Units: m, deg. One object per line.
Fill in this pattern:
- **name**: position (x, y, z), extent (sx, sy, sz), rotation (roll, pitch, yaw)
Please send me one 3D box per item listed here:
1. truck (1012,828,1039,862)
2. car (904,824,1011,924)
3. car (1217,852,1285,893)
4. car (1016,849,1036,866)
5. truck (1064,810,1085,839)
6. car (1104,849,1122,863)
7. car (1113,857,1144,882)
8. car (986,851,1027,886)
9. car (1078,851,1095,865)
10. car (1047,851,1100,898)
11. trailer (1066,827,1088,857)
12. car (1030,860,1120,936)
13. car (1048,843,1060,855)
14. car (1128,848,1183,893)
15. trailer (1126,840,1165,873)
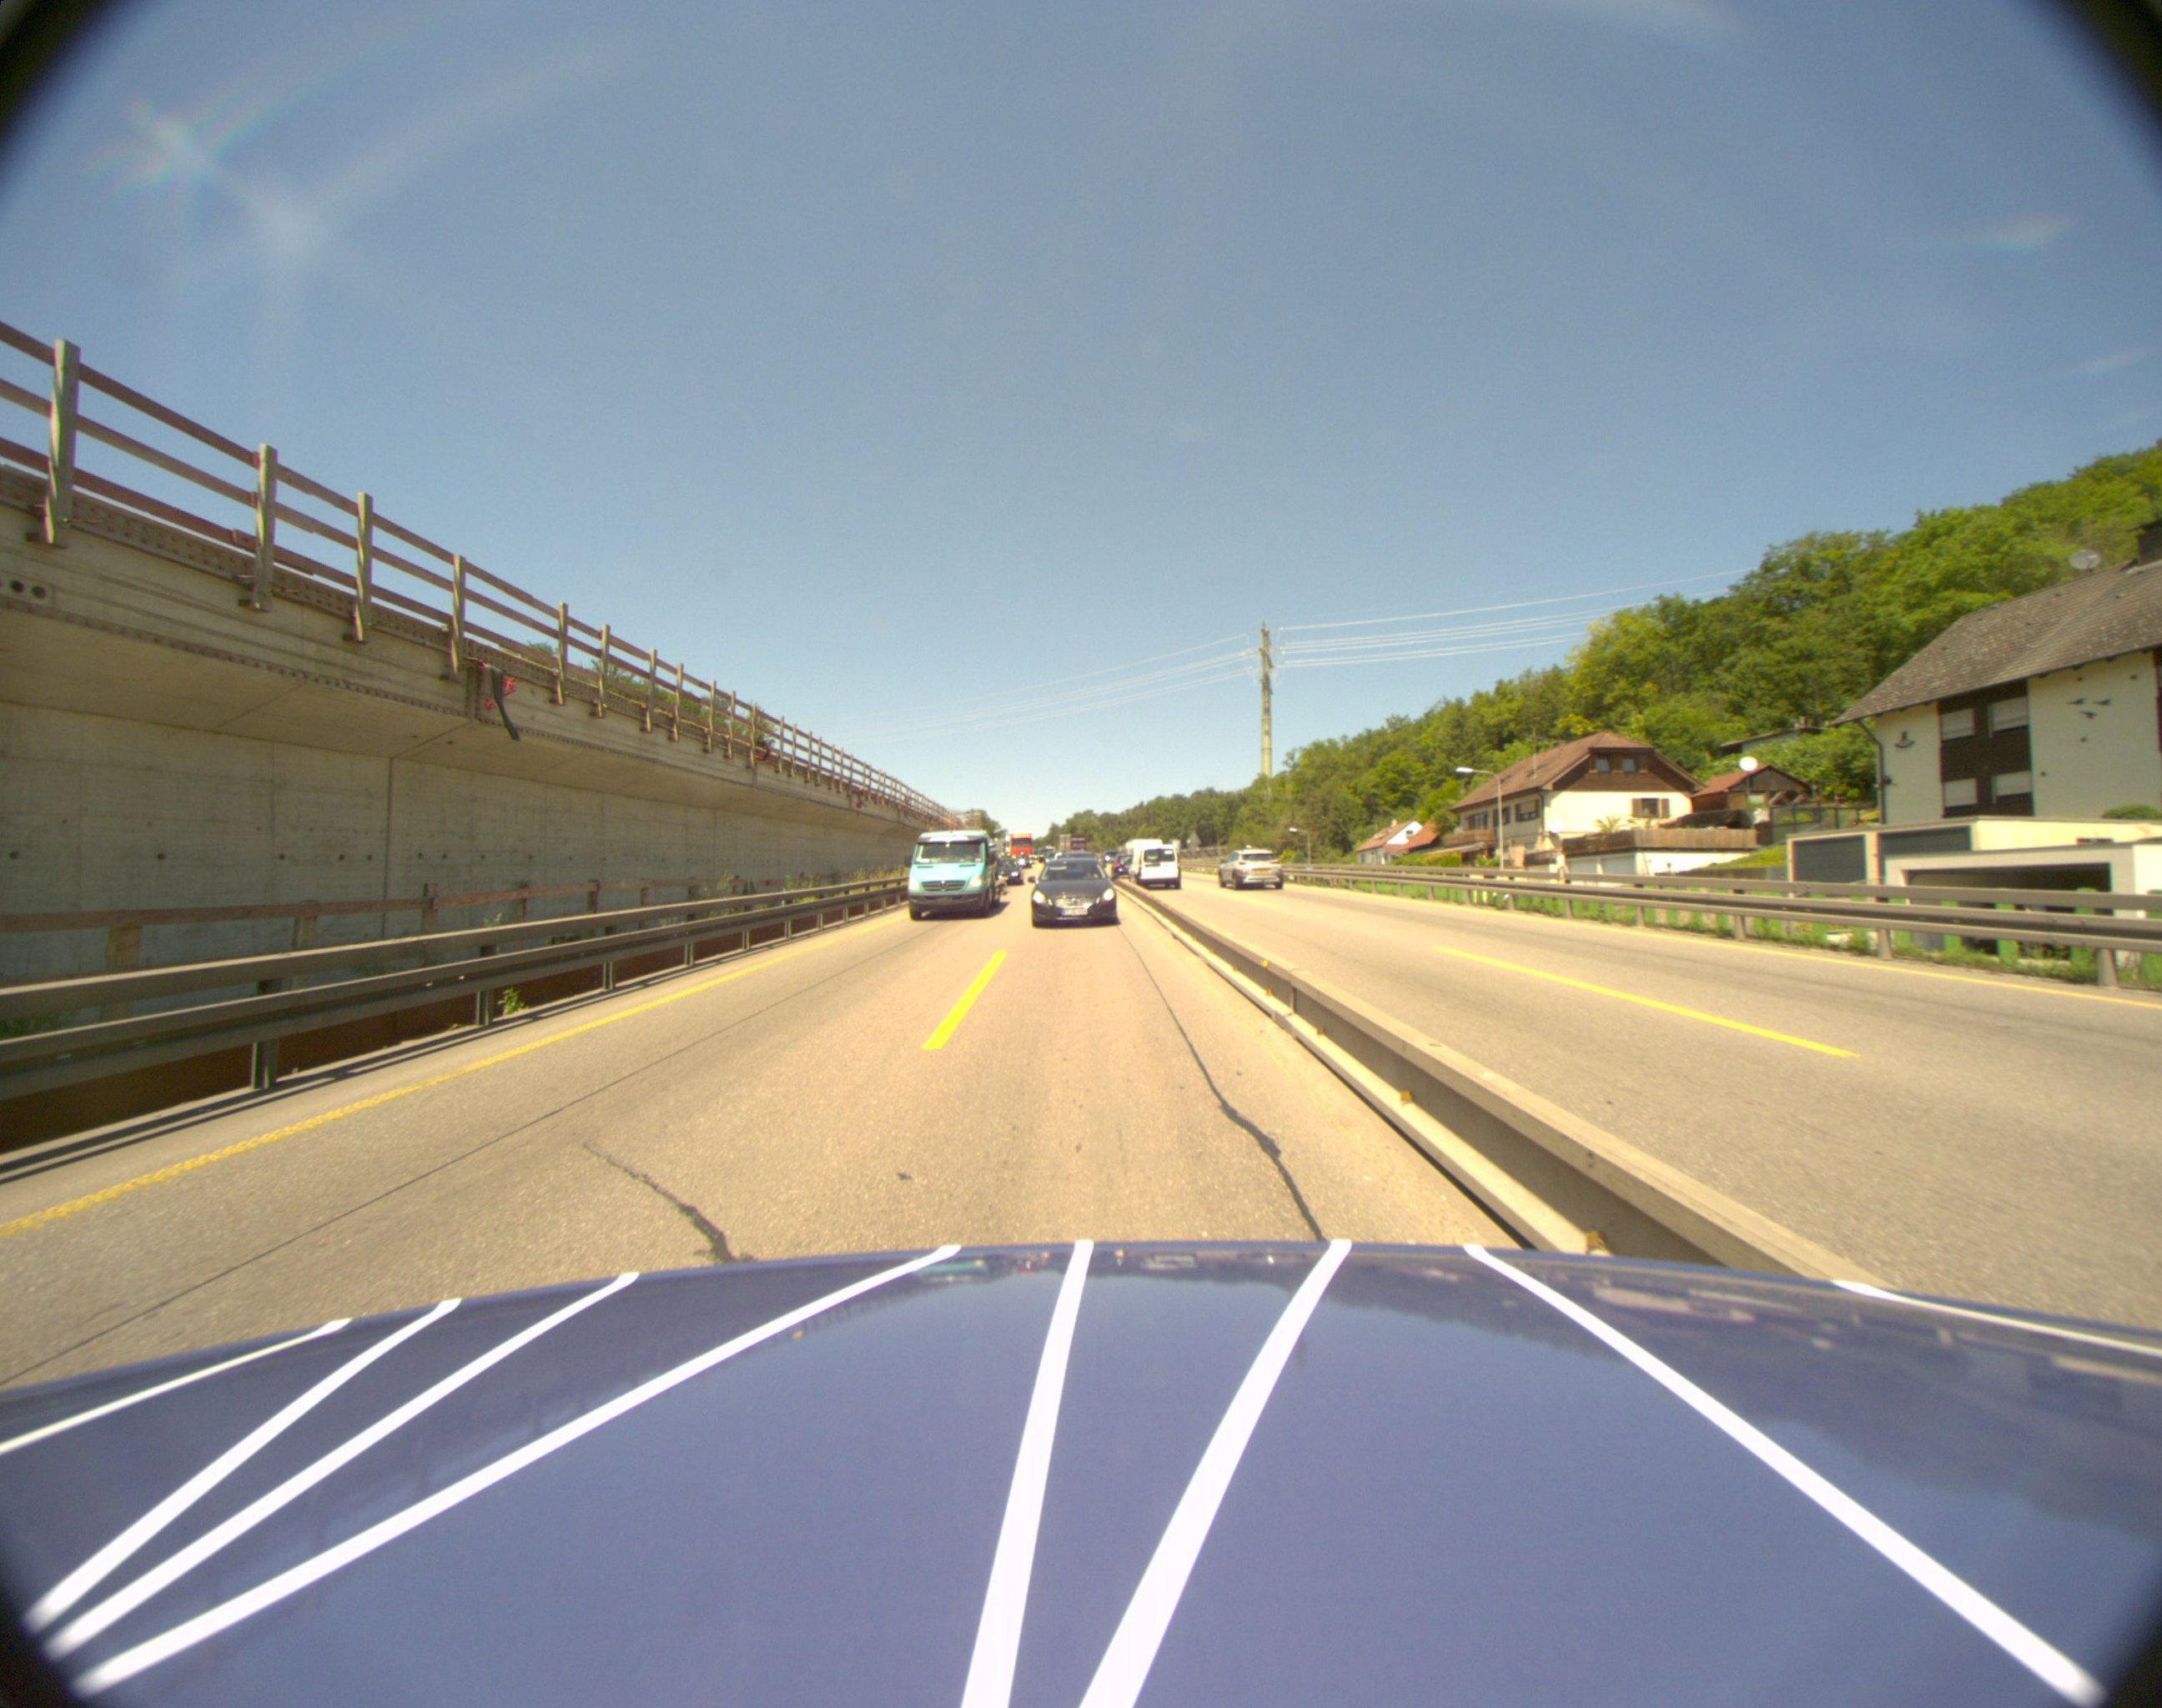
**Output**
- **truck**: position (-6.938, -1.160, 96.624), extent (2.651, 3.978, 11.193), rotation (-3, 1, -1)
- **car**: position (-3.320, 0.468, 22.046), extent (1.968, 2.367, 7.209), rotation (-2, 0, -1)
- **car**: position (6.554, 0.669, 29.674), extent (1.706, 1.471, 3.973), rotation (-2, 0, -1)
- **car**: position (-5.484, 0.344, 75.905), extent (1.674, 1.499, 3.648), rotation (-3, 1, 1)
- **truck**: position (-1.211, -5.230, 136.334), extent (3.182, 4.734, 9.120), rotation (-3, 1, -2)
- **car**: position (3.638, 0.203, 87.294), extent (1.630, 1.506, 3.855), rotation (-2, 0, -3)
- **car**: position (2.886, 0.923, 46.835), extent (1.575, 1.453, 4.213), rotation (-2, 0, -1)
- **car**: position (-3.875, 0.734, 40.055), extent (1.860, 1.650, 3.998), rotation (-3, 1, -2)
- **car**: position (0.655, 0.450, 89.363), extent (1.802, 1.577, 4.321), rotation (-2, 0, -2)
- **car**: position (-0.304, 0.745, 30.066), extent (1.860, 1.650, 3.999), rotation (-3, 1, -1)
- **trailer**: position (-0.806, -2.030, 129.013), extent (3.130, 4.687, 12.074), rotation (-3, 1, -2)
- **car**: position (-0.178, 0.906, 17.479), extent (1.793, 1.440, 4.296), rotation (-1, 0, -2)
- **car**: position (-5.074, -0.929, 140.796), extent (1.860, 2.138, 5.564), rotation (-3, 1, -4)
- **car**: position (3.080, 0.660, 32.098), extent (1.814, 1.730, 4.256), rotation (-2, 0, -1)
- **trailer**: position (5.381, 0.192, 64.095), extent (2.606, 2.573, 6.240), rotation (-2, 1, -1)
